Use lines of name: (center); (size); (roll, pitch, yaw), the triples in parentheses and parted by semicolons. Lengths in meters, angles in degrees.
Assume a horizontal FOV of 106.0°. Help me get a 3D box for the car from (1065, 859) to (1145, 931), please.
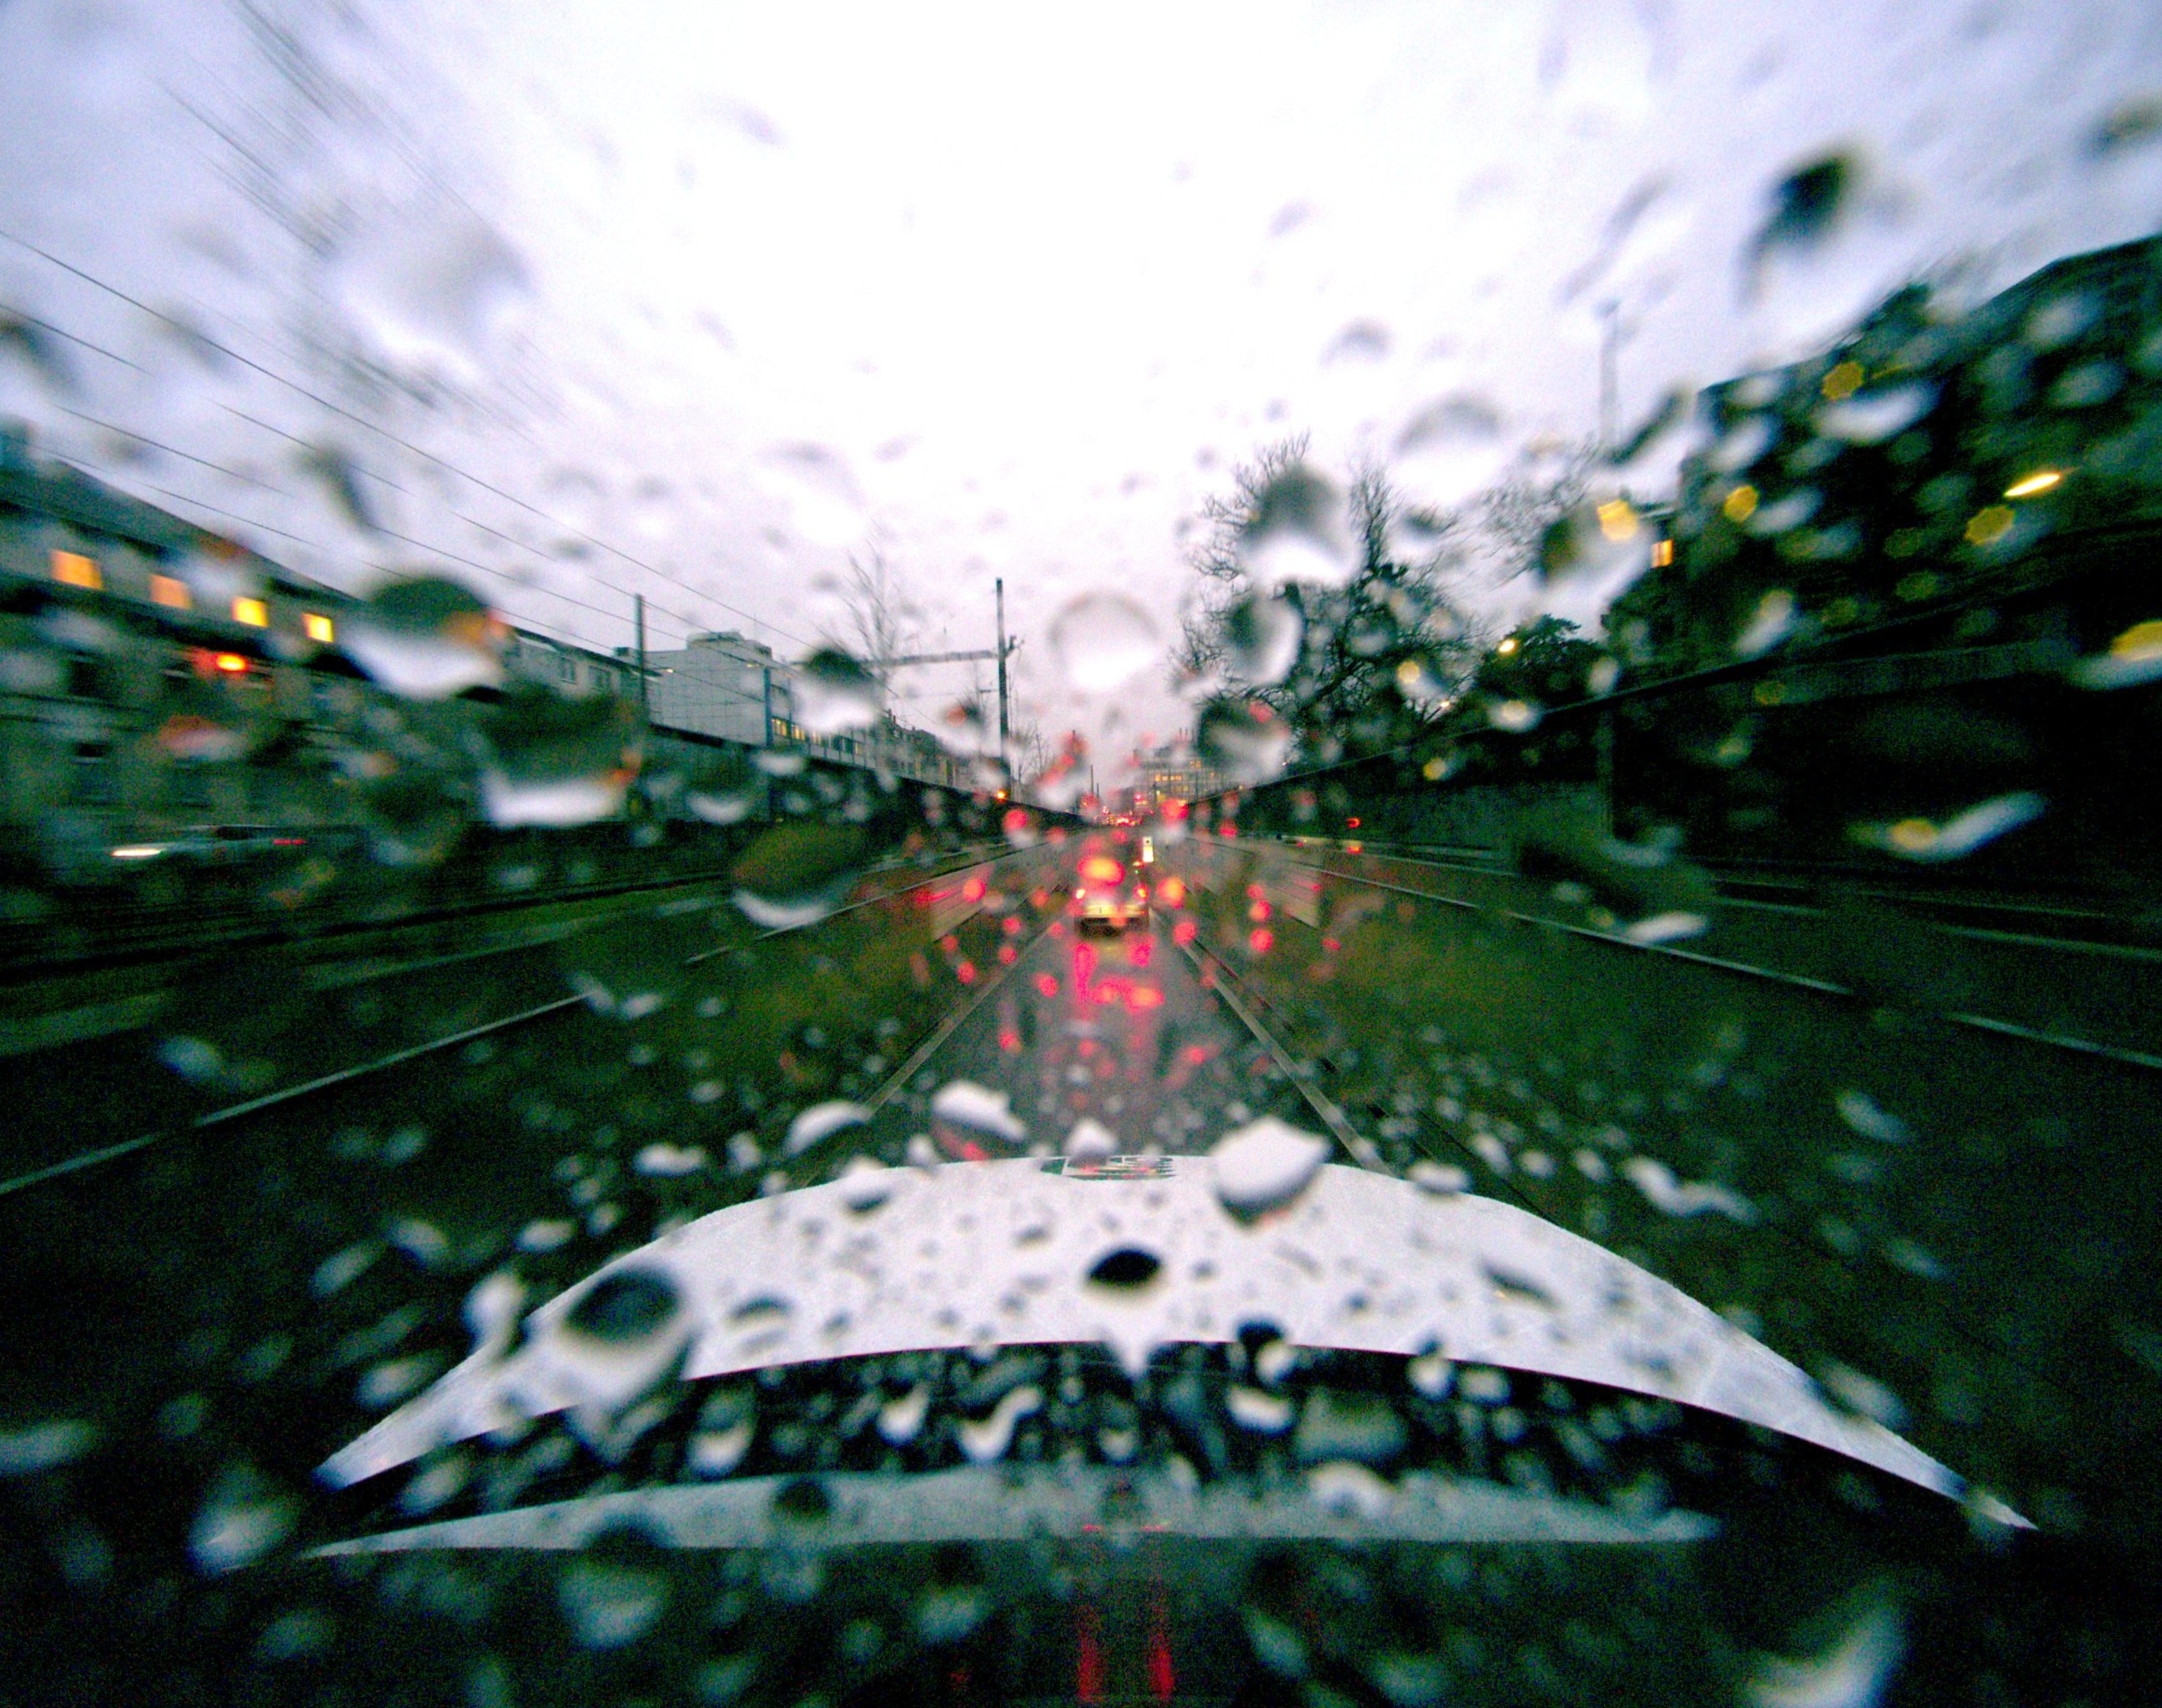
car: (0.661, 0.893, 19.566); (1.714, 1.479, 4.005); (0, 0, 4)

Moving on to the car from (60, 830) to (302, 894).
car: (-26.271, 0.162, 24.066); (1.985, 1.631, 4.435); (-1, 2, 3)

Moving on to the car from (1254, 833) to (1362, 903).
car: (5.248, 0.242, 19.308); (1.714, 1.479, 4.005); (0, 2, 4)
